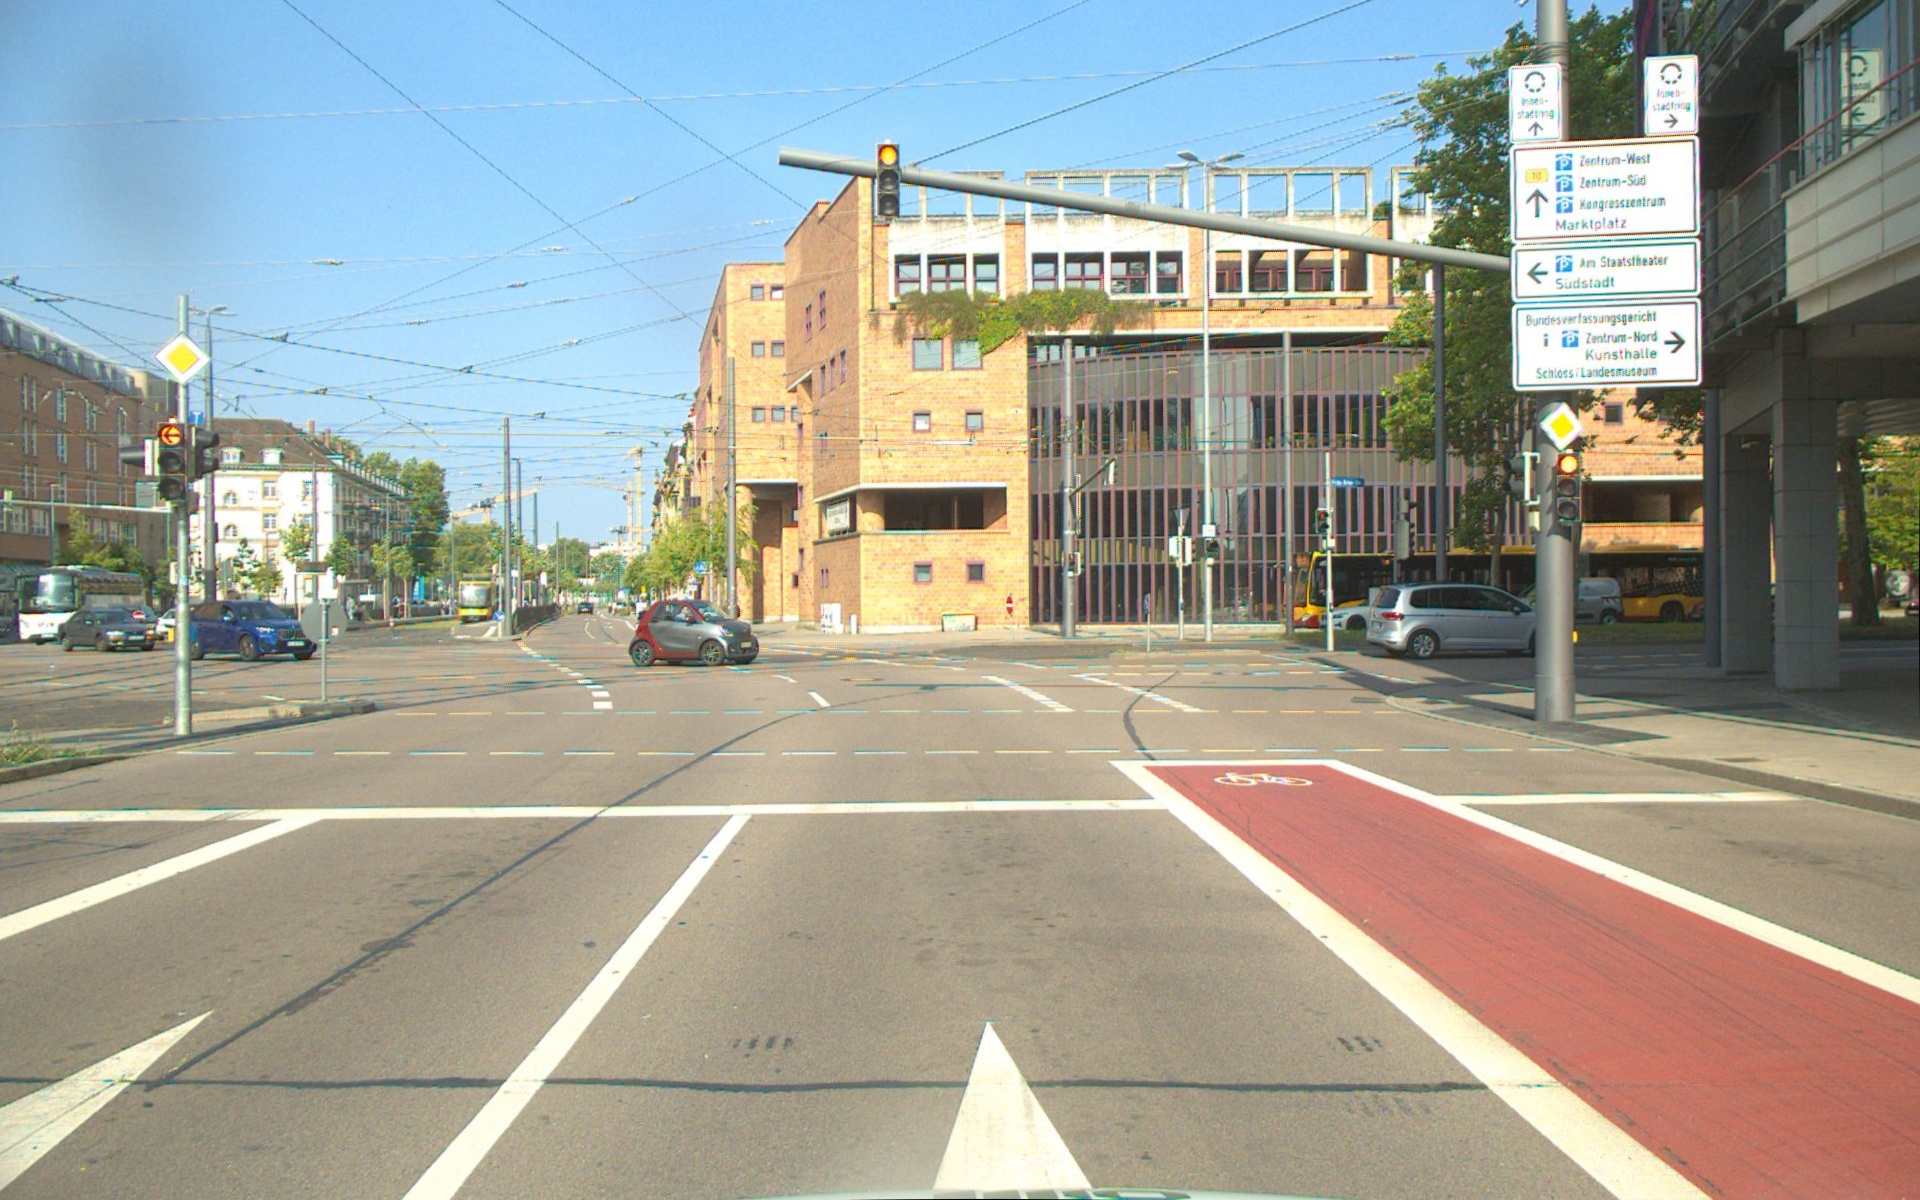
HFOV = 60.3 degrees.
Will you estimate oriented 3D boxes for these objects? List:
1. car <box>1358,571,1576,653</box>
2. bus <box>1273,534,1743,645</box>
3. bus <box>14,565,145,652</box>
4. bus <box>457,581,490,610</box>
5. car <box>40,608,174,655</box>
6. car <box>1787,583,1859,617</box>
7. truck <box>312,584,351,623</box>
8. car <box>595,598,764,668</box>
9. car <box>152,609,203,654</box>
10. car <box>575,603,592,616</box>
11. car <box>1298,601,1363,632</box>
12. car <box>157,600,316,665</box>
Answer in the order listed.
[{"bbox_3d":[11.123,0.241,36.425,4.294,1.663,1.688,-1,2,-7],"label":"car"},{"bbox_3d":[20.310,-0.407,61.197,17.293,3.877,2.857,-1,-2,-11],"label":"bus"},{"bbox_3d":[-43.442,0.542,82.088,2.699,3.990,12.173,0,-1,-13],"label":"bus"},{"bbox_3d":[-34.769,-0.318,118.329,1.958,2.049,3.988,0,0,-12],"label":"bus"},{"bbox_3d":[-28.620,1.072,55.488,4.125,1.513,1.997,-1,-2,27],"label":"car"},{"bbox_3d":[30.633,0.003,58.709,2.194,1.131,0.722,-1,-2,-5],"label":"car"},{"bbox_3d":[-44.520,0.263,117.231,1.959,2.644,4.725,-1,0,-13],"label":"truck"},{"bbox_3d":[-6.569,0.771,38.772,3.517,1.518,1.703,-1,0,21],"label":"car"},{"bbox_3d":[-36.296,1.463,76.766,1.573,2.049,2.721,0,-1,-12],"label":"car"},{"bbox_3d":[-47.802,1.231,209.907,2.038,1.569,4.399,0,-1,-13],"label":"car"},{"bbox_3d":[12.409,0.549,55.496,1.912,0.975,1.093,-1,0,-3],"label":"car"},{"bbox_3d":[-19.593,0.907,44.752,4.323,1.664,1.985,-2,-2,35],"label":"car"}]
